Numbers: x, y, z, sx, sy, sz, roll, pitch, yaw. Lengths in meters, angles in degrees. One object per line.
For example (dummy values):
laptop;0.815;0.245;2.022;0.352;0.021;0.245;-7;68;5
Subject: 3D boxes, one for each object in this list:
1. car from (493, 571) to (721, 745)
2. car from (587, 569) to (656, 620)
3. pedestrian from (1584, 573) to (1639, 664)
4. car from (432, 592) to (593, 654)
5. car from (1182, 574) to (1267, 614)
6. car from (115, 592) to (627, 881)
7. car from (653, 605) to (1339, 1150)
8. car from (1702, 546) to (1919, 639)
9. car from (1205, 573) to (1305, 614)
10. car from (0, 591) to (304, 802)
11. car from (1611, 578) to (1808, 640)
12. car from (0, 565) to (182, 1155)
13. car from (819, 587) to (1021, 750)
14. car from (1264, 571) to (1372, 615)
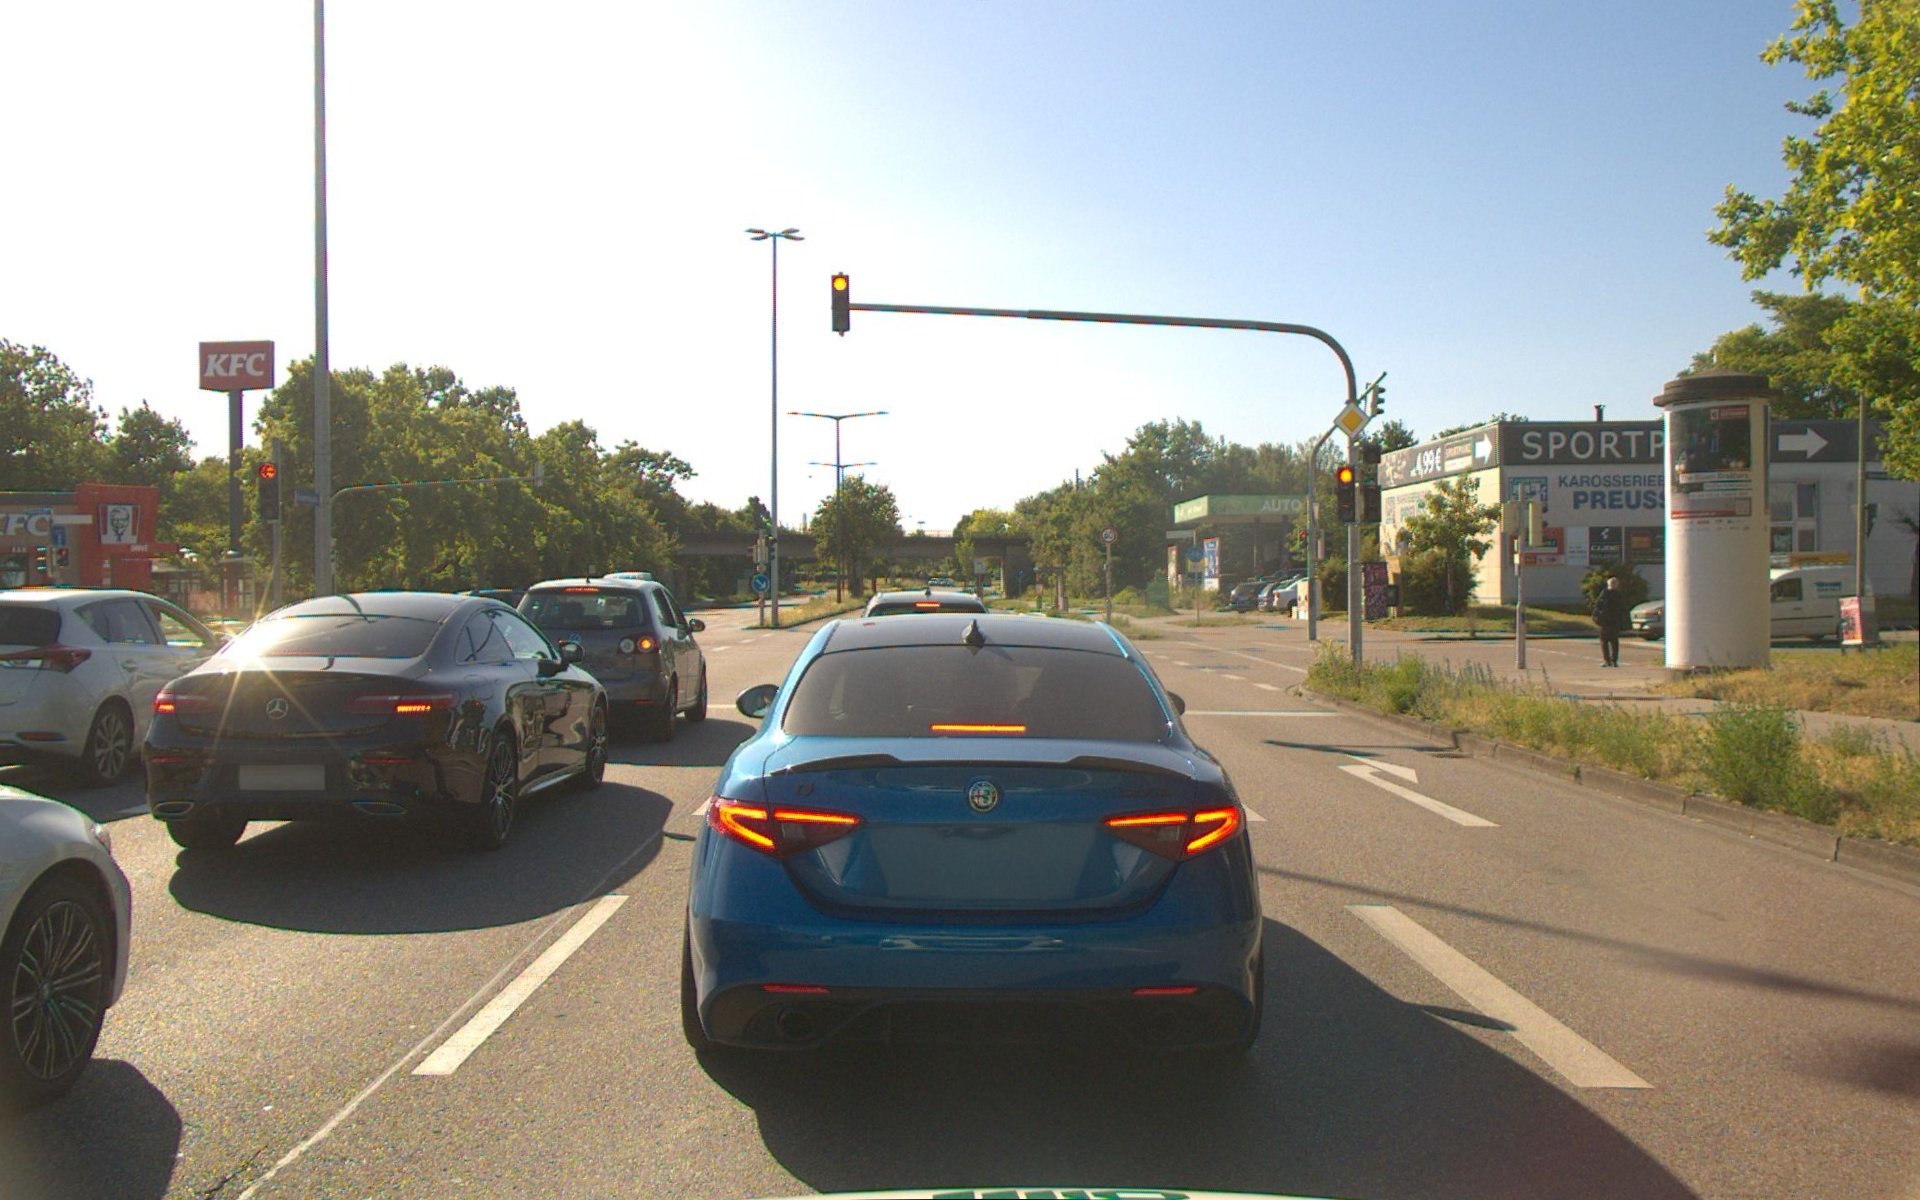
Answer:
car;-3.597;0.528;17.496;1.615;1.626;3.931;0;0;-1
car;-16.957;-0.311;83.131;2.382;2.469;5.830;0;0;-1
pedestrian;12.689;0.352;32.224;0.805;1.752;0.854;0;0;6
car;-12.283;0.605;45.431;3.992;1.622;1.807;0;0;-29
car;11.882;-0.267;74.324;3.428;1.736;1.688;0;0;-16
car;-3.413;0.674;10.563;1.732;1.439;4.460;0;0;-1
car;0.073;0.751;6.390;1.828;1.409;3.931;0;0;-1
car;20.605;-0.195;40.152;4.318;2.183;1.998;0;0;-4
car;12.677;-0.273;71.146;3.928;1.736;1.686;0;0;-20
car;-7.170;0.658;13.643;1.819;1.454;4.403;0;0;-1
car;19.762;0.219;43.720;4.318;1.580;1.998;0;0;-4
car;-3.348;0.688;3.090;1.732;1.535;4.460;0;0;-1
car;-0.391;0.612;17.048;1.828;1.475;3.931;0;0;-1
car;14.349;-0.284;66.315;3.923;1.736;1.687;0;0;-17
